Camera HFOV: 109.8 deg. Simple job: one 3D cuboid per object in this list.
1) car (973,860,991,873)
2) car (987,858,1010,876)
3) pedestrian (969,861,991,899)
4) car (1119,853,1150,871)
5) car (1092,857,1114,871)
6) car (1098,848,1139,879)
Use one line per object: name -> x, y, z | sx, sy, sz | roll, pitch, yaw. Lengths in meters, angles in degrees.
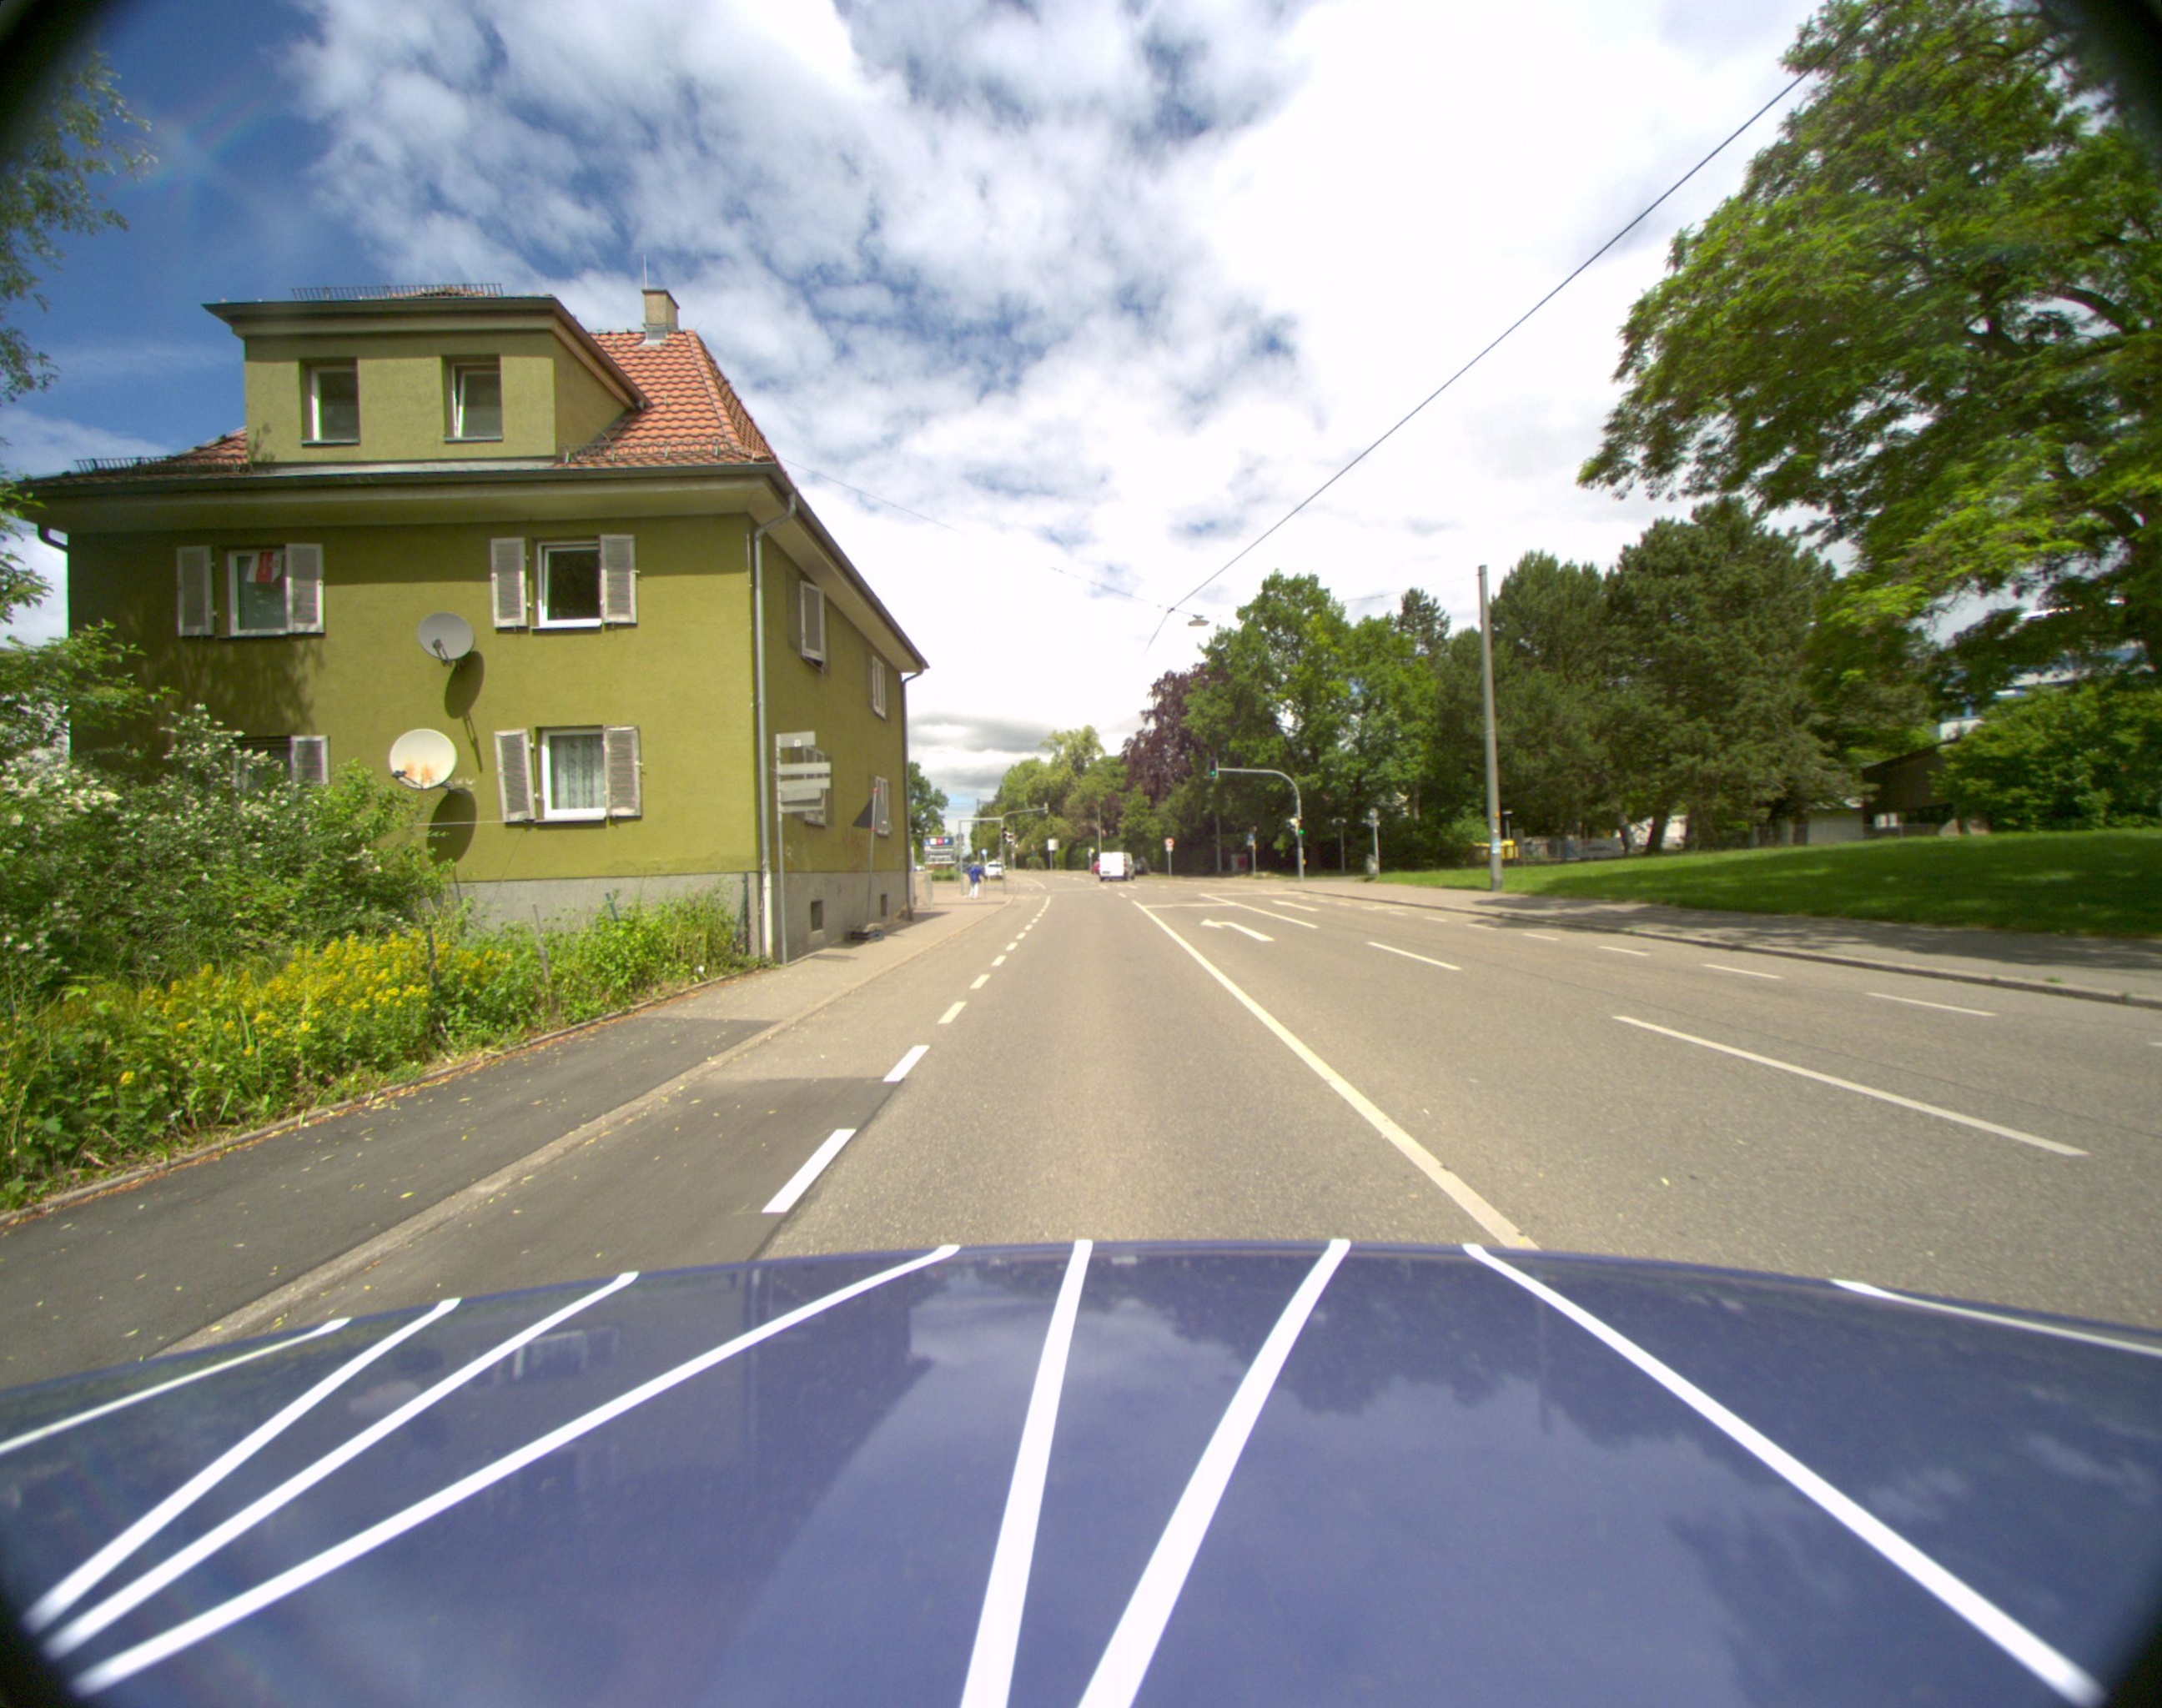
car -> -12.552, 1.520, 96.162 | 1.707, 1.522, 3.995 | -3, 0, -15
car -> -7.416, 1.148, 68.068 | 1.796, 1.522, 3.918 | 0, 0, -9
pedestrian -> -4.294, 1.098, 32.401 | 0.826, 1.563, 0.987 | -1, 0, -4
car -> 4.639, 0.679, 66.867 | 1.688, 1.407, 4.398 | -3, 1, -9
car -> 2.372, 1.062, 81.135 | 1.531, 1.358, 3.371 | -3, 1, -12
car -> 2.700, 0.633, 53.042 | 1.997, 2.011, 5.356 | -1, 0, 12
